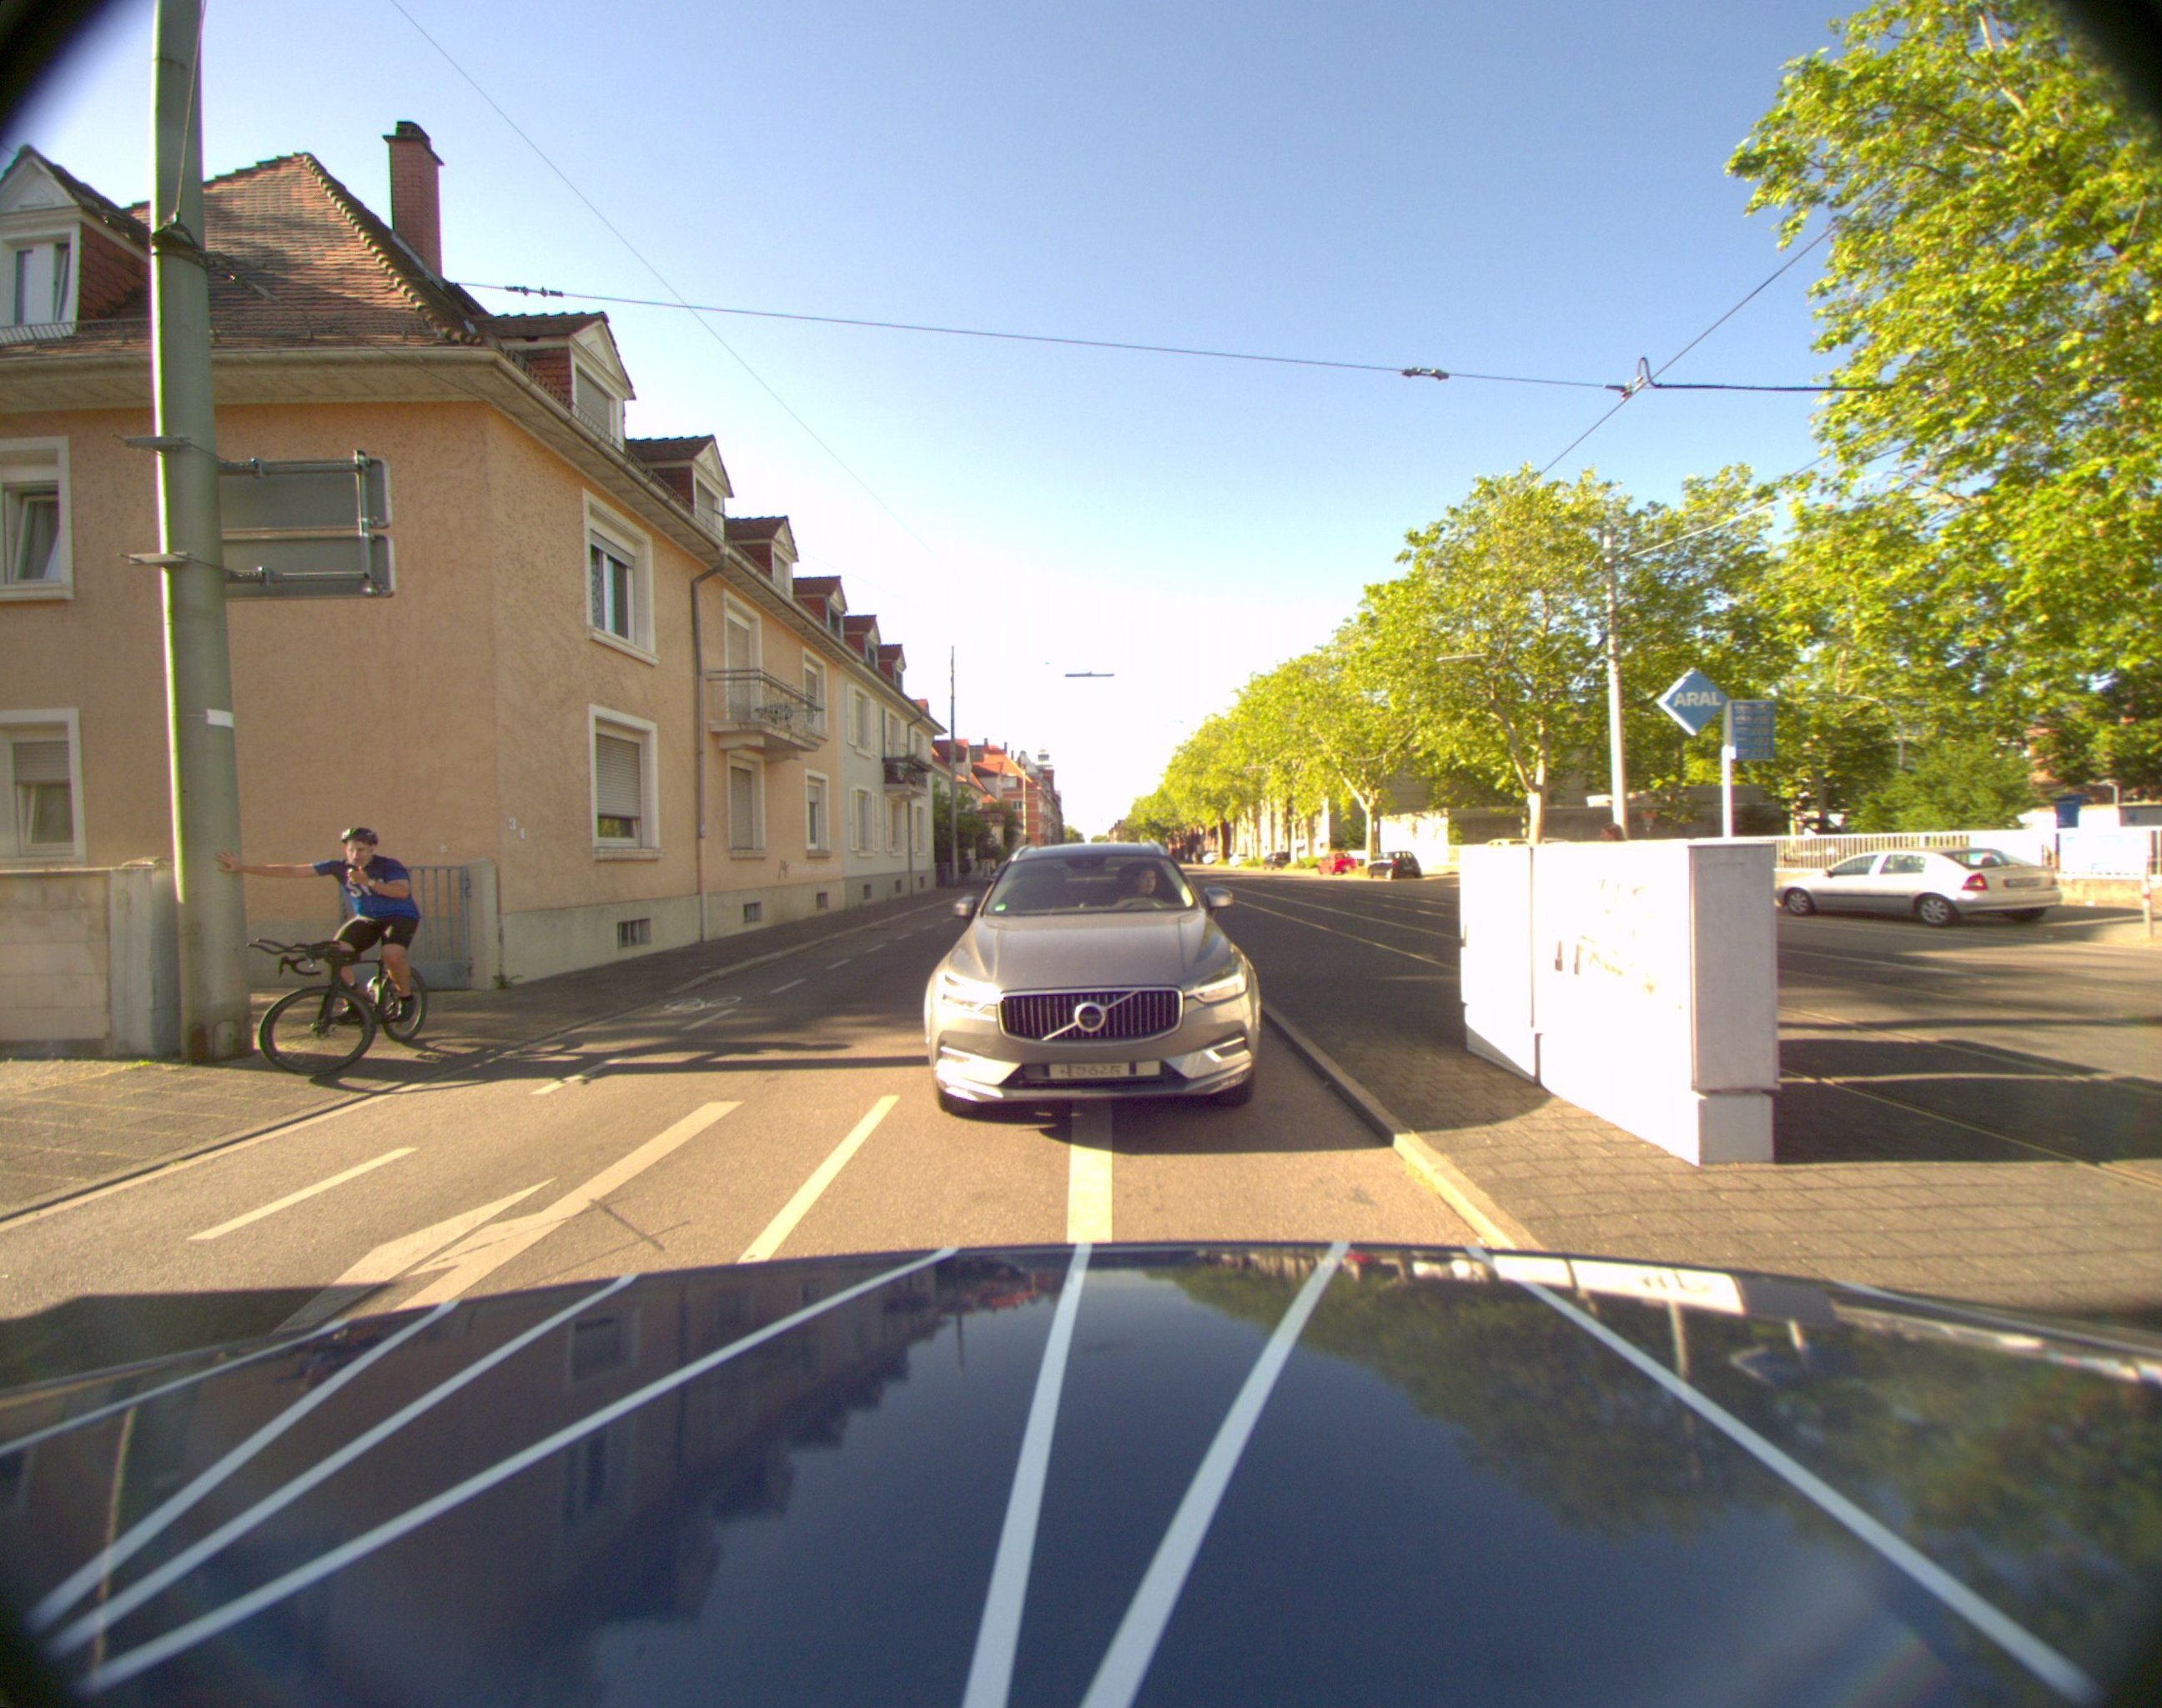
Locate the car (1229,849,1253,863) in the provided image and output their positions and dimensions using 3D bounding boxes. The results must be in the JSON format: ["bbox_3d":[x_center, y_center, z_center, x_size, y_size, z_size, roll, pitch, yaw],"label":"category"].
[{"bbox_3d":[17.551,0.222,83.430,1.802,1.489,4.000,-1,0,1],"label":"car"}]

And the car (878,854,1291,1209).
[{"bbox_3d":[0.047,0.854,5.805,1.940,1.650,4.321,-1,0,1],"label":"car"}]

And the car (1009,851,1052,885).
[{"bbox_3d":[-2.783,0.719,42.888,1.751,1.767,5.351,-1,0,3],"label":"car"}]

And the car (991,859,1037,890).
[{"bbox_3d":[-3.205,0.968,37.029,1.647,1.357,3.868,-1,0,4],"label":"car"}]

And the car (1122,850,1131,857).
[{"bbox_3d":[11.174,-0.100,187.973,1.998,1.652,4.000,-1,0,1],"label":"car"}]

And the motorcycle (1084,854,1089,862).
[{"bbox_3d":[0.830,0.629,119.416,0.792,1.095,2.519,0,0,1],"label":"motorcycle"}]

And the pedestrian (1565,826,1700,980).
[{"bbox_3d":[6.378,0.528,8.807,0.696,1.652,1.095,-3,1,-39],"label":"pedestrian"}]

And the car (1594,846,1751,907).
[{"bbox_3d":[16.436,0.577,21.343,1.692,1.455,3.519,-4,0,2],"label":"car"}]

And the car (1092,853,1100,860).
[{"bbox_3d":[3.625,0.538,182.870,1.998,1.543,4.000,-1,0,1],"label":"car"}]

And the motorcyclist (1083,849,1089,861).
[{"bbox_3d":[0.806,0.136,119.535,0.827,1.832,1.159,-2,1,1],"label":"motorcyclist"}]

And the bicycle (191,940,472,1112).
[{"bbox_3d":[-5.937,1.306,6.179,0.572,0.986,1.698,2,0,1],"label":"bicycle"}]

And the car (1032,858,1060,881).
[{"bbox_3d":[-2.461,1.088,54.443,1.785,1.468,4.000,-1,0,1],"label":"car"}]

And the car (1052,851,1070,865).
[{"bbox_3d":[-2.198,0.453,85.495,1.875,1.477,4.000,-1,0,1],"label":"car"}]

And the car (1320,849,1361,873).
[{"bbox_3d":[16.948,0.436,49.753,1.641,1.499,3.046,-1,0,1],"label":"car"}]

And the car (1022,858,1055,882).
[{"bbox_3d":[-2.678,0.994,48.307,1.785,1.346,4.000,-1,0,1],"label":"car"}]

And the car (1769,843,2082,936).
[{"bbox_3d":[16.250,0.598,14.994,1.795,1.455,3.966,-4,0,2],"label":"car"}]

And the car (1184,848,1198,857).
[{"bbox_3d":[18.201,-0.220,125.632,1.802,1.504,4.000,-1,0,1],"label":"car"}]

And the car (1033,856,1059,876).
[{"bbox_3d":[-2.746,0.948,60.679,1.785,1.468,4.000,-1,0,1],"label":"car"}]

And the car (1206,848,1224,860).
[{"bbox_3d":[17.739,-0.010,100.674,1.802,1.504,4.000,-1,0,1],"label":"car"}]

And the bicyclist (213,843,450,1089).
[{"bbox_3d":[-6.142,0.866,6.294,1.076,1.854,0.846,2,1,1],"label":"bicyclist"}]

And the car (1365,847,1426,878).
[{"bbox_3d":[16.888,0.423,40.983,1.826,1.521,3.653,-2,0,1],"label":"car"}]

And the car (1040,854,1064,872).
[{"bbox_3d":[-2.556,0.770,66.832,1.875,1.477,4.000,-1,0,1],"label":"car"}]

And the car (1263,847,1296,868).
[{"bbox_3d":[17.200,0.287,66.044,1.802,1.652,4.000,-1,0,1],"label":"car"}]
